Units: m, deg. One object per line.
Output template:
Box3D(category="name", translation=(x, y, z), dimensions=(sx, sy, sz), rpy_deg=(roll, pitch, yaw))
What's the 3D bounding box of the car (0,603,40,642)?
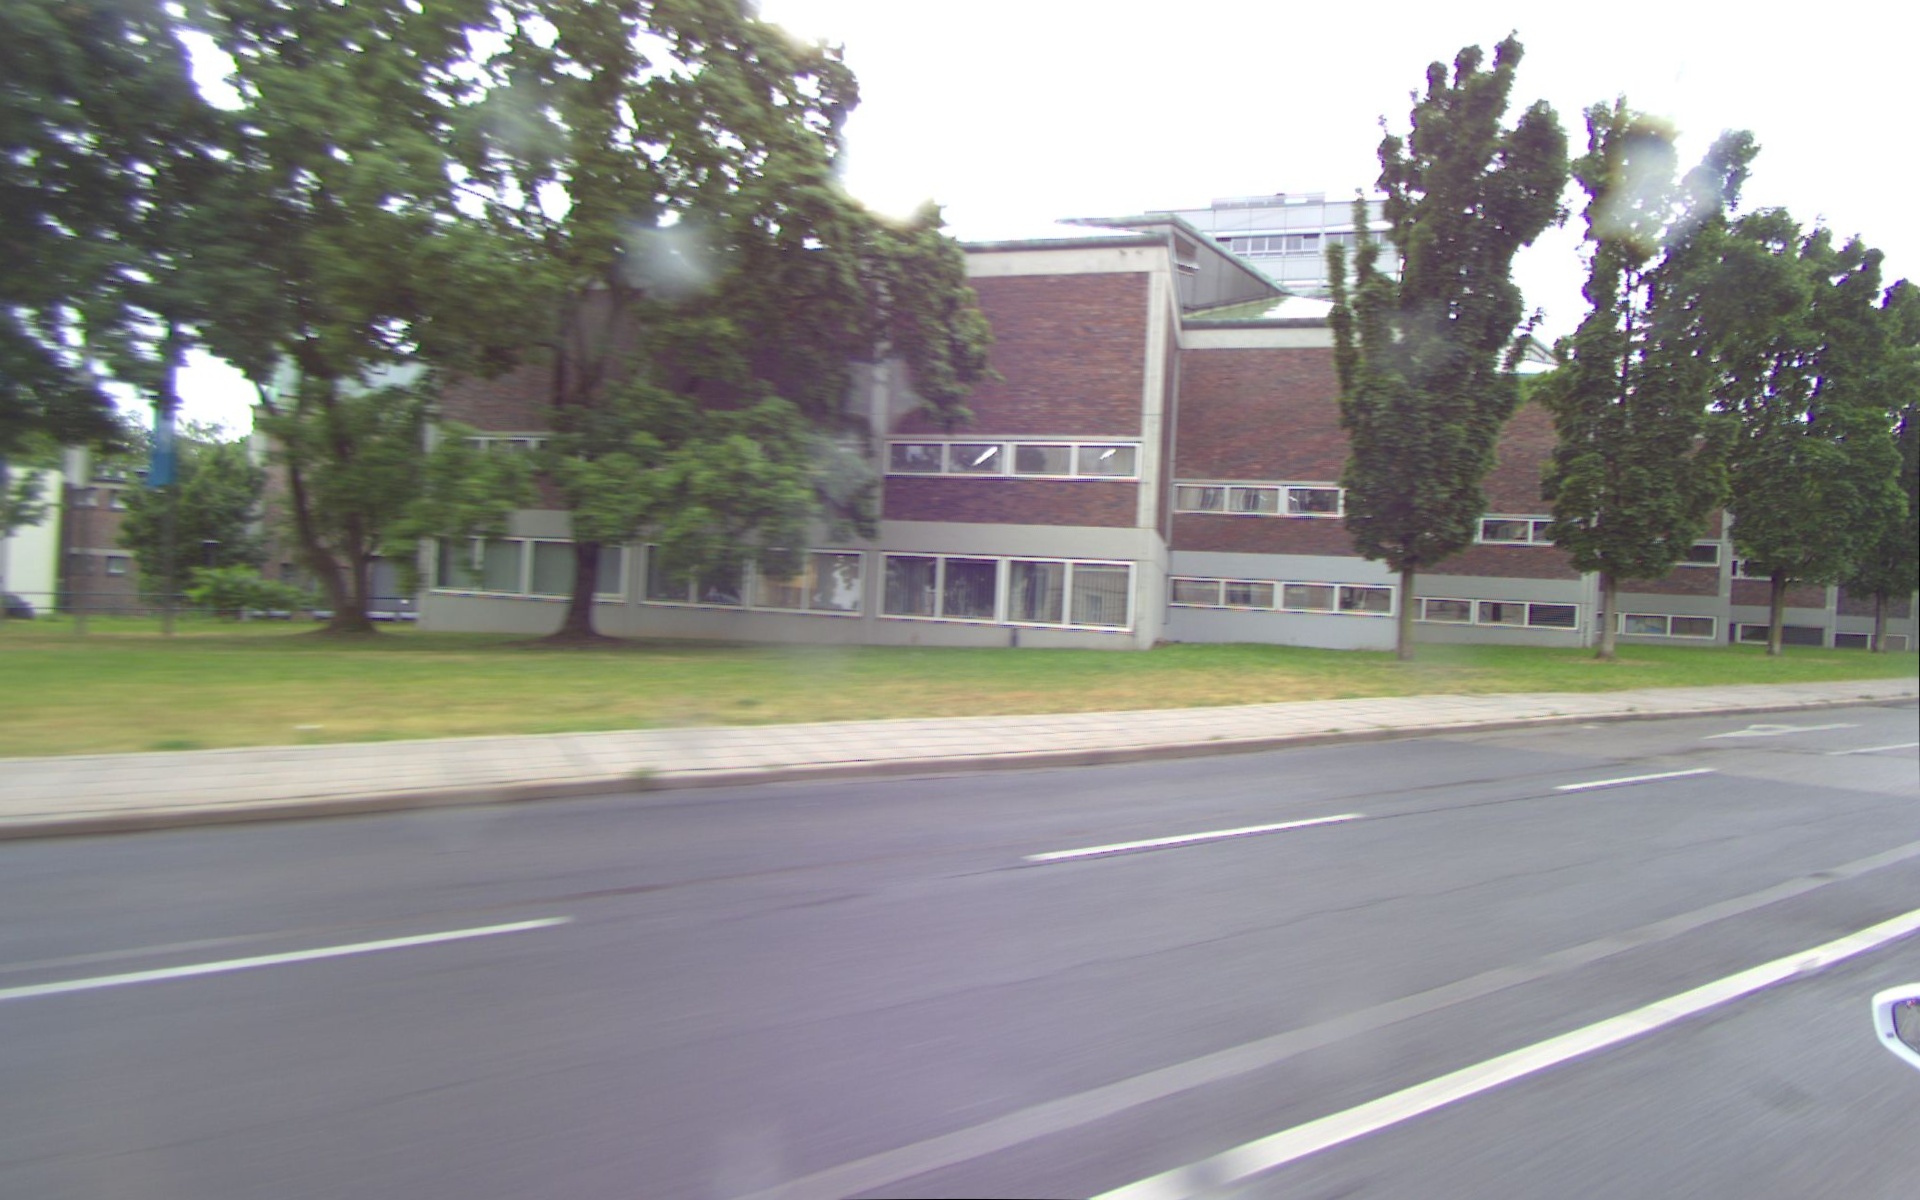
Box3D(category="car", translation=(-39.258, 0.886, 41.139), dimensions=(1.637, 1.368, 3.816), rpy_deg=(2, 1, -32))
